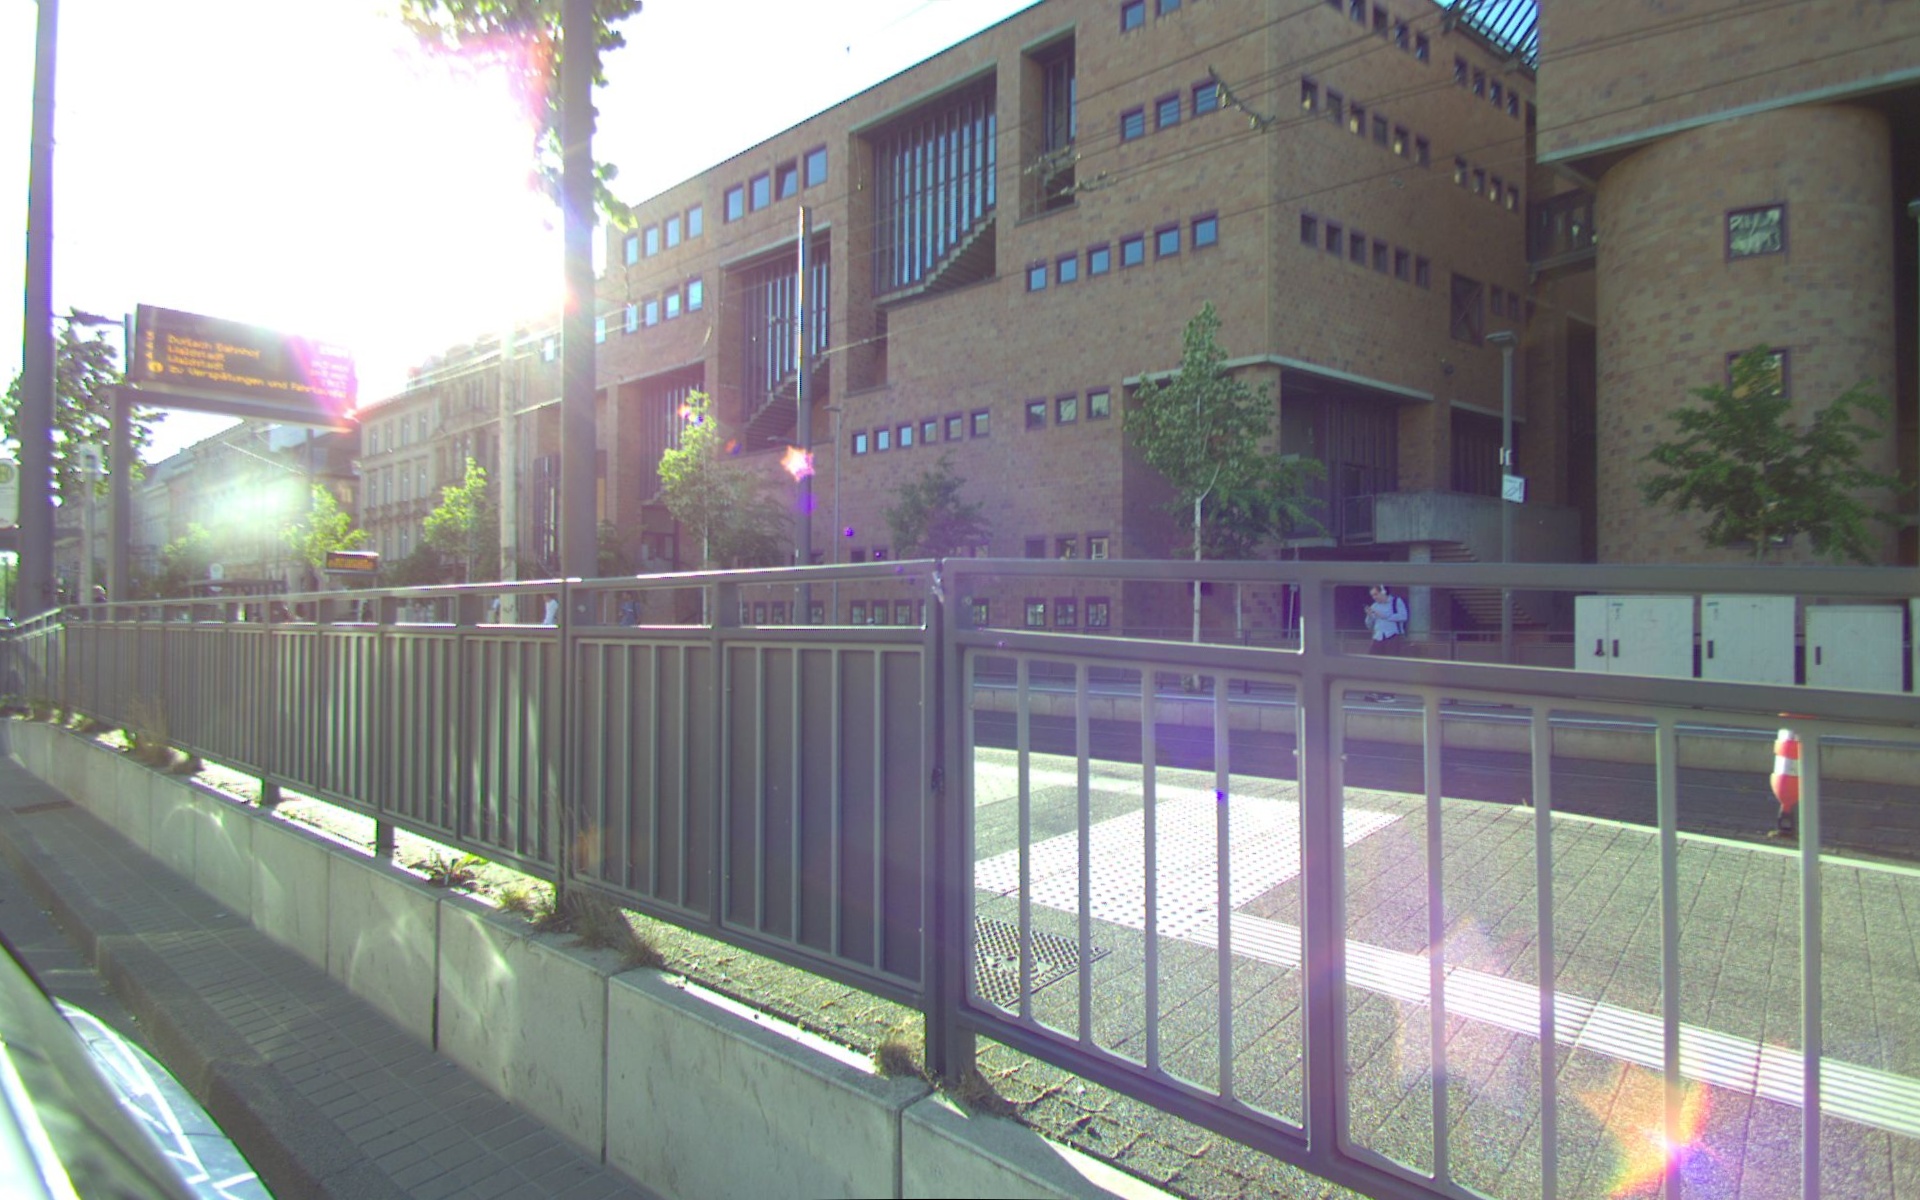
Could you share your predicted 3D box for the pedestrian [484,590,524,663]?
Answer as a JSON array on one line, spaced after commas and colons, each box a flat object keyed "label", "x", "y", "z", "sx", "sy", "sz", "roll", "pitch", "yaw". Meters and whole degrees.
[{"label": "pedestrian", "x": -11.473, "y": 0.654, "z": 25.458, "sx": 0.668, "sy": 1.821, "sz": 0.677, "roll": 0, "pitch": 0, "yaw": 40}]

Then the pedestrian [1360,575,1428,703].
[{"label": "pedestrian", "x": 5.769, "y": 0.497, "z": 13.446, "sx": 0.684, "sy": 1.647, "sz": 0.660, "roll": 0, "pitch": 0, "yaw": 37}]

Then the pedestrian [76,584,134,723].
[{"label": "pedestrian", "x": -15.528, "y": 0.950, "z": 18.384, "sx": 0.625, "sy": 2.461, "sz": 0.676, "roll": 0, "pitch": 0, "yaw": 38}]

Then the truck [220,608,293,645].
[{"label": "truck", "x": -38.849, "y": 1.498, "z": 55.839, "sx": 5.151, "sy": 1.894, "sz": 1.973, "roll": -2, "pitch": -4, "yaw": 40}]

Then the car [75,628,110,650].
[{"label": "car", "x": -69.040, "y": 3.082, "z": 80.533, "sx": 3.445, "sy": 1.639, "sz": 1.634, "roll": 0, "pitch": 0, "yaw": 40}]

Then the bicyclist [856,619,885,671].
[{"label": "bicyclist", "x": -2.739, "y": 1.366, "z": 30.872, "sx": 0.650, "sy": 1.545, "sz": 0.580, "roll": 0, "pitch": 0, "yaw": 41}]
